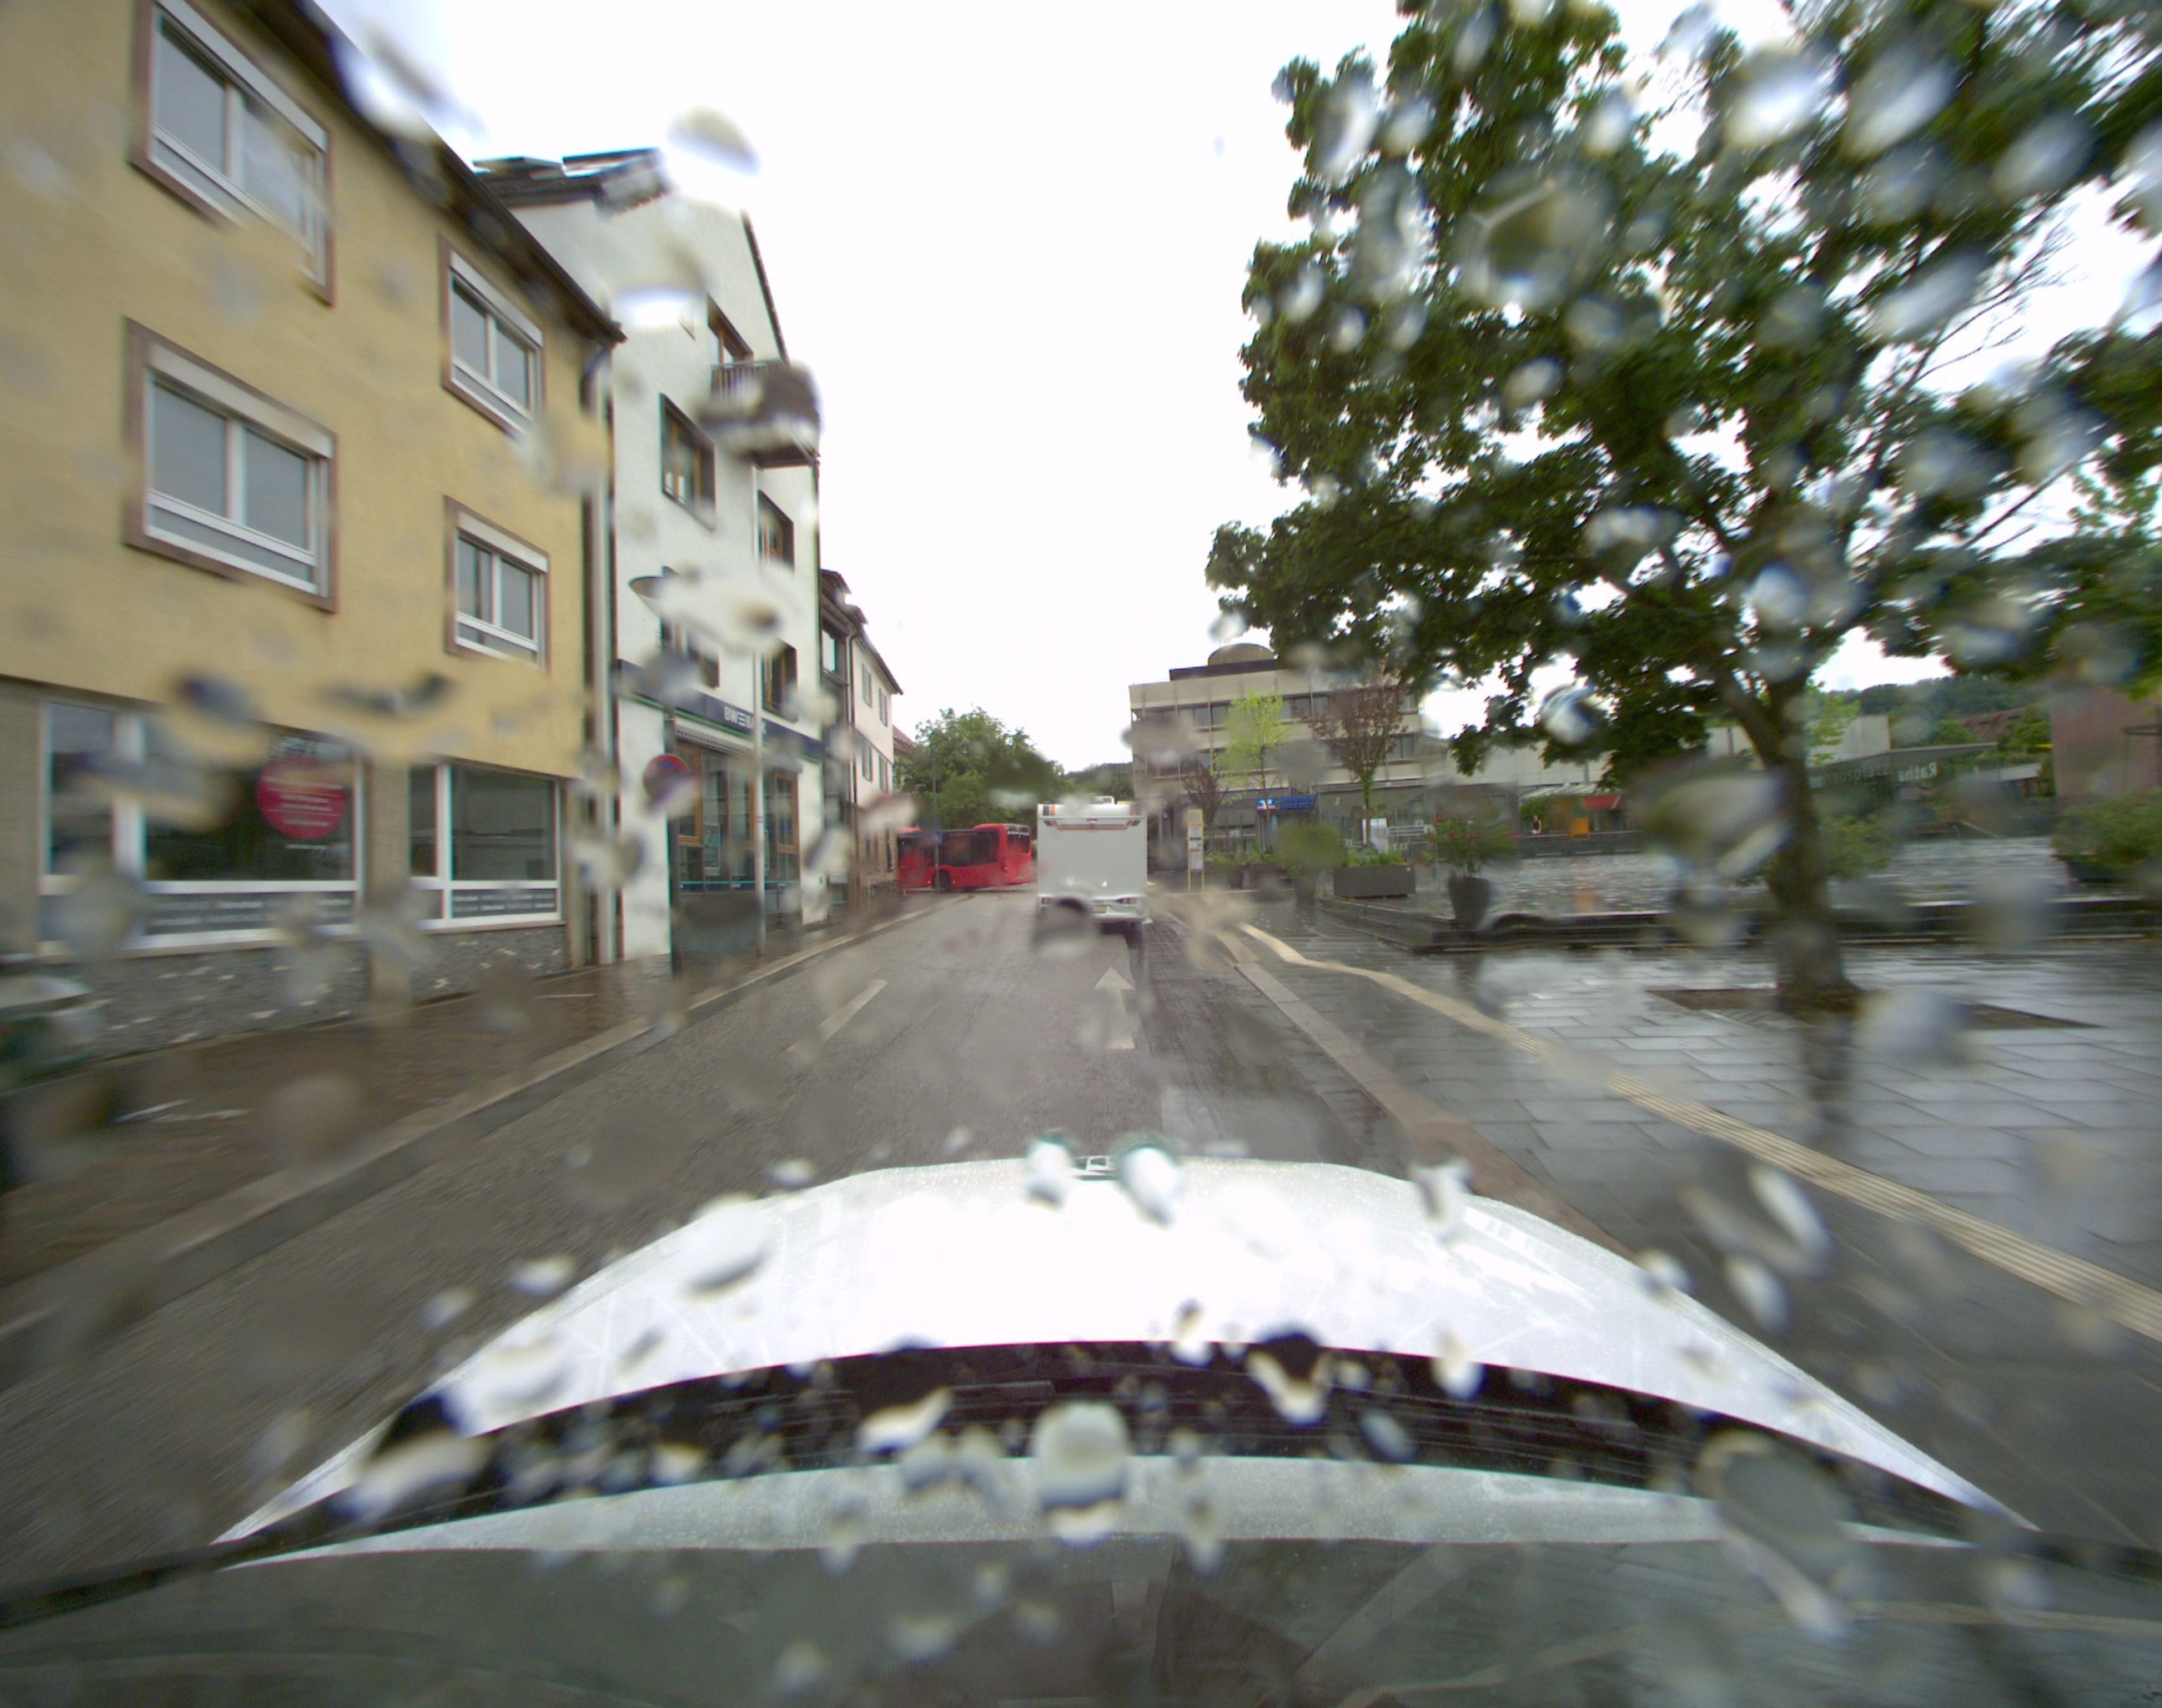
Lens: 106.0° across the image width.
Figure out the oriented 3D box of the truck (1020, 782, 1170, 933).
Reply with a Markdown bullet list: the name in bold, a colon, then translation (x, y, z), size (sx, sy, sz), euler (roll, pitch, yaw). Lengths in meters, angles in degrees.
- **truck**: translation (0.205, 0.116, 19.053), size (2.798, 2.797, 6.102), euler (-4, -1, -2)

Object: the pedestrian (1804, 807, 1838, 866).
- **pedestrian**: translation (31.116, -0.728, 34.242), size (0.729, 2.439, 0.571), euler (-4, -1, 14)

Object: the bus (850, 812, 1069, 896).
- **bus**: translation (-5.823, 0.089, 38.301), size (10.021, 3.146, 3.051), euler (-4, -1, 25)

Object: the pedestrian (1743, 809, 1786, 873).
- **pedestrian**: translation (29.746, -0.538, 35.443), size (1.045, 2.684, 0.836), euler (-4, -1, 19)

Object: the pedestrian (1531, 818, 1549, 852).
- **pedestrian**: translation (29.702, -1.233, 52.671), size (0.752, 2.147, 0.662), euler (-4, -1, 19)
